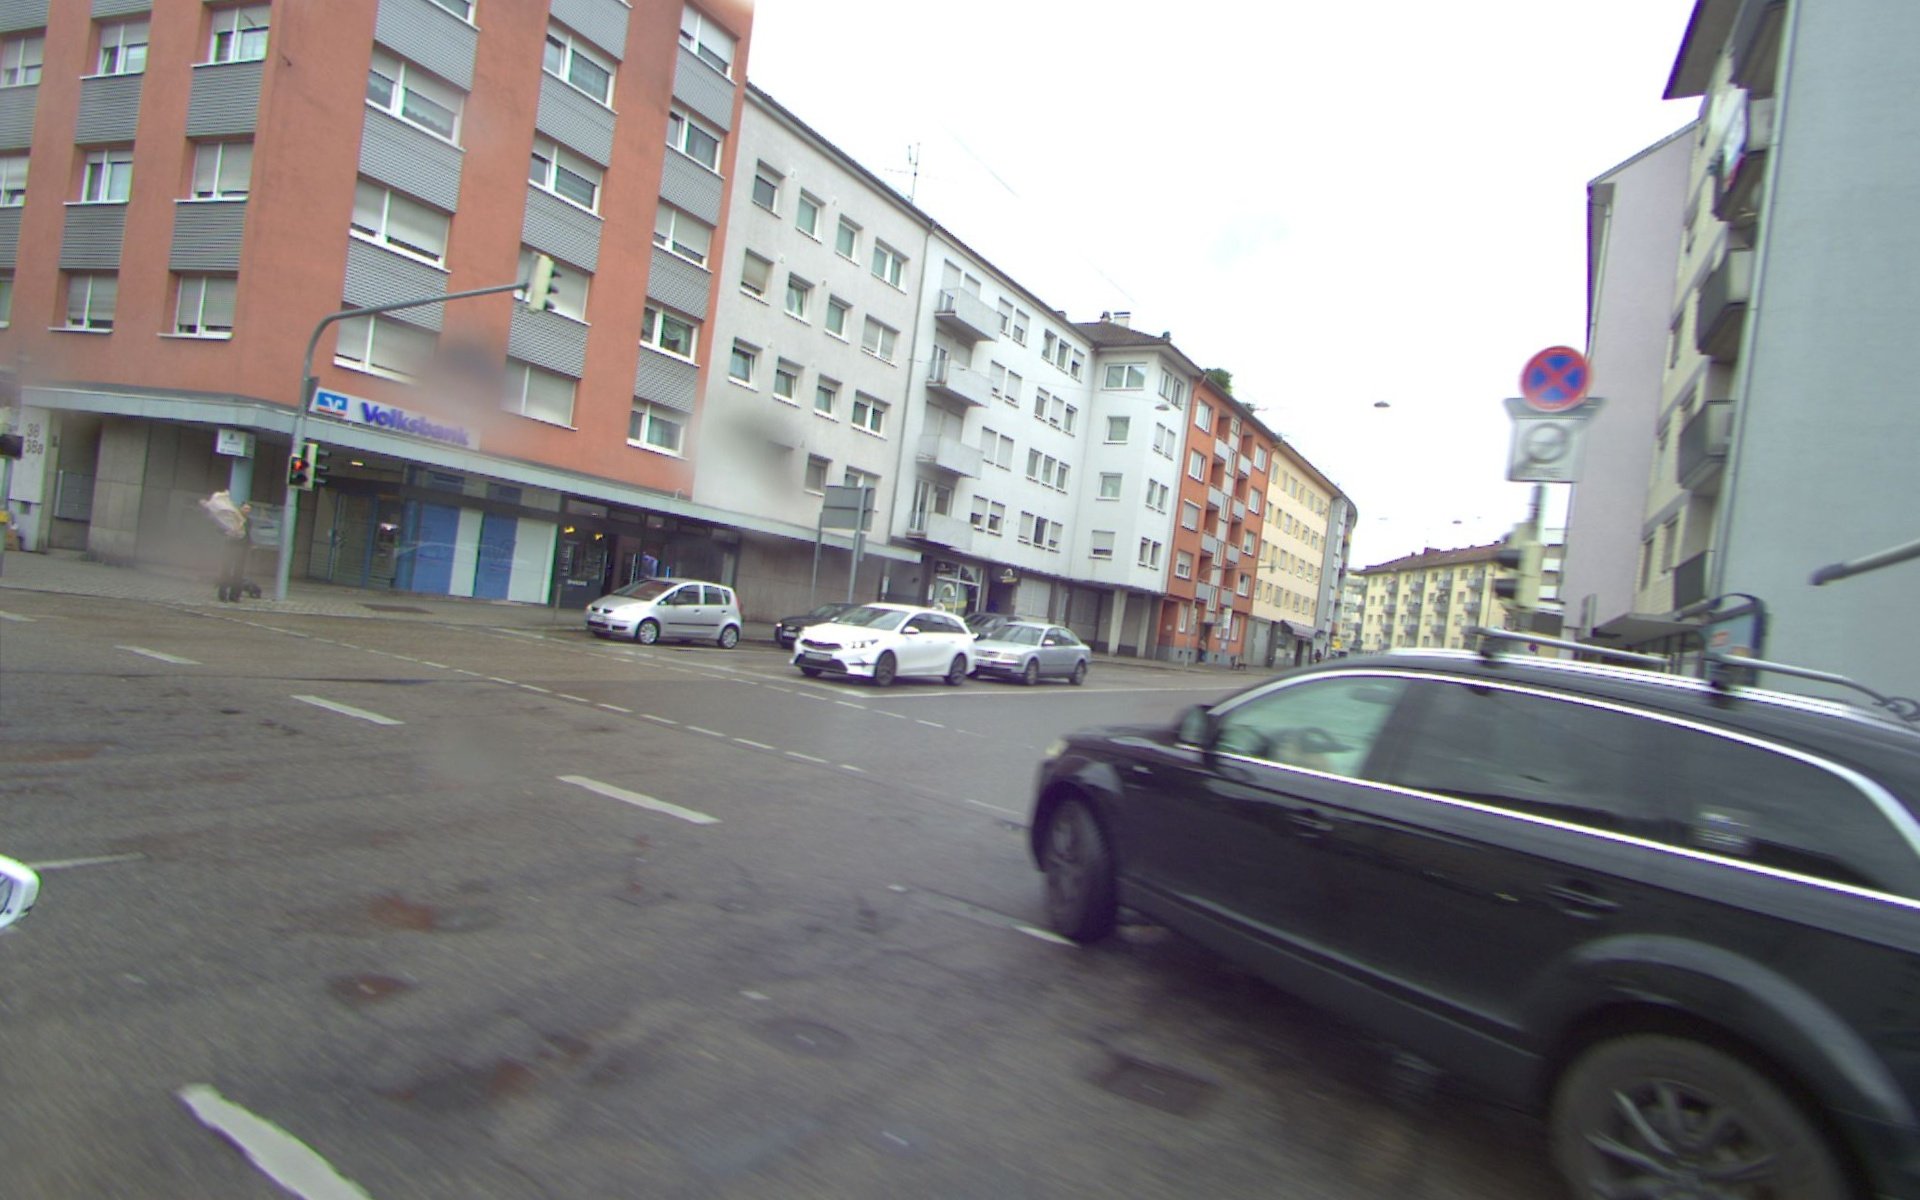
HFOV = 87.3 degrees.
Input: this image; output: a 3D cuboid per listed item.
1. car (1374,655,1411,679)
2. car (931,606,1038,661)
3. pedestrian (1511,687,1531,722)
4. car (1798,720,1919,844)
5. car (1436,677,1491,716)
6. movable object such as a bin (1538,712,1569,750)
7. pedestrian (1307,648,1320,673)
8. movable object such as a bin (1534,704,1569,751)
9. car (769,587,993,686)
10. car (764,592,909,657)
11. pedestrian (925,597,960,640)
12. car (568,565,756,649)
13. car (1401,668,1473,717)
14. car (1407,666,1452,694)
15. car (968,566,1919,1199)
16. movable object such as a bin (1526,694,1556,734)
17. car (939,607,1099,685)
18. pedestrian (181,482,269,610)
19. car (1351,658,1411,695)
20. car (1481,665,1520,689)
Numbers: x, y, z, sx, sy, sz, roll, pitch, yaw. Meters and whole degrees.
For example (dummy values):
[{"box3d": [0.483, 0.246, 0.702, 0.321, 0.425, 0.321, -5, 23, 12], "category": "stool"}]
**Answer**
[{"box3d": [32.615, 5.060, 75.839, 1.826, 1.504, 3.990, 7, 0, 33], "category": "car"}, {"box3d": [0.942, 1.218, 35.504, 1.728, 1.561, 4.243, 7, -1, 32], "category": "car"}, {"box3d": [26.144, 4.889, 46.840, 0.616, 1.520, 0.705, 7, -2, 33], "category": "pedestrian"}, {"box3d": [14.283, 2.716, 13.531, 4.259, 1.457, 1.877, 7, 0, 32], "category": "car"}, {"box3d": [25.693, 4.901, 51.285, 1.958, 1.637, 4.119, 7, -1, 33], "category": "car"}, {"box3d": [15.870, 3.508, 26.916, 0.612, 0.918, 0.533, 7, -2, 32], "category": "movable object such as a bin"}, {"box3d": [28.023, 4.808, 79.706, 0.679, 1.827, 0.706, 8, -1, 25], "category": "pedestrian"}, {"box3d": [16.181, 3.481, 27.514, 0.686, 1.151, 0.640, 7, -2, 32], "category": "movable object such as a bin"}, {"box3d": [-1.350, 0.785, 19.393, 1.887, 1.504, 4.659, 7, -1, 30], "category": "car"}, {"box3d": [-3.429, 0.750, 28.734, 1.640, 1.442, 4.375, 7, -1, 31], "category": "car"}, {"box3d": [-0.724, 0.786, 42.119, 0.812, 1.630, 1.012, 7, -2, 33], "category": "pedestrian"}, {"box3d": [-6.769, 0.223, 23.259, 1.674, 1.504, 3.952, 7, -1, 31], "category": "car"}, {"box3d": [19.665, 3.807, 41.379, 1.959, 1.637, 4.117, 7, -1, 34], "category": "car"}, {"box3d": [30.219, 5.146, 64.659, 1.967, 1.504, 3.990, 7, 0, 33], "category": "car"}, {"box3d": [2.168, 1.003, 4.338, 2.006, 1.891, 4.865, 9, -1, -27], "category": "car"}, {"box3d": [18.582, 3.640, 32.160, 0.686, 1.151, 0.640, 7, -2, 32], "category": "movable object such as a bin"}, {"box3d": [1.524, 1.162, 24.177, 1.814, 1.504, 4.516, 7, -1, 31], "category": "car"}, {"box3d": [-13.514, -0.986, 18.496, 0.757, 2.183, 0.827, 7, -2, 31], "category": "pedestrian"}, {"box3d": [21.005, 3.851, 50.096, 1.967, 1.504, 3.991, 7, 0, 33], "category": "car"}, {"box3d": [37.805, 5.356, 70.293, 1.967, 1.402, 3.988, 7, 1, 33], "category": "car"}]
